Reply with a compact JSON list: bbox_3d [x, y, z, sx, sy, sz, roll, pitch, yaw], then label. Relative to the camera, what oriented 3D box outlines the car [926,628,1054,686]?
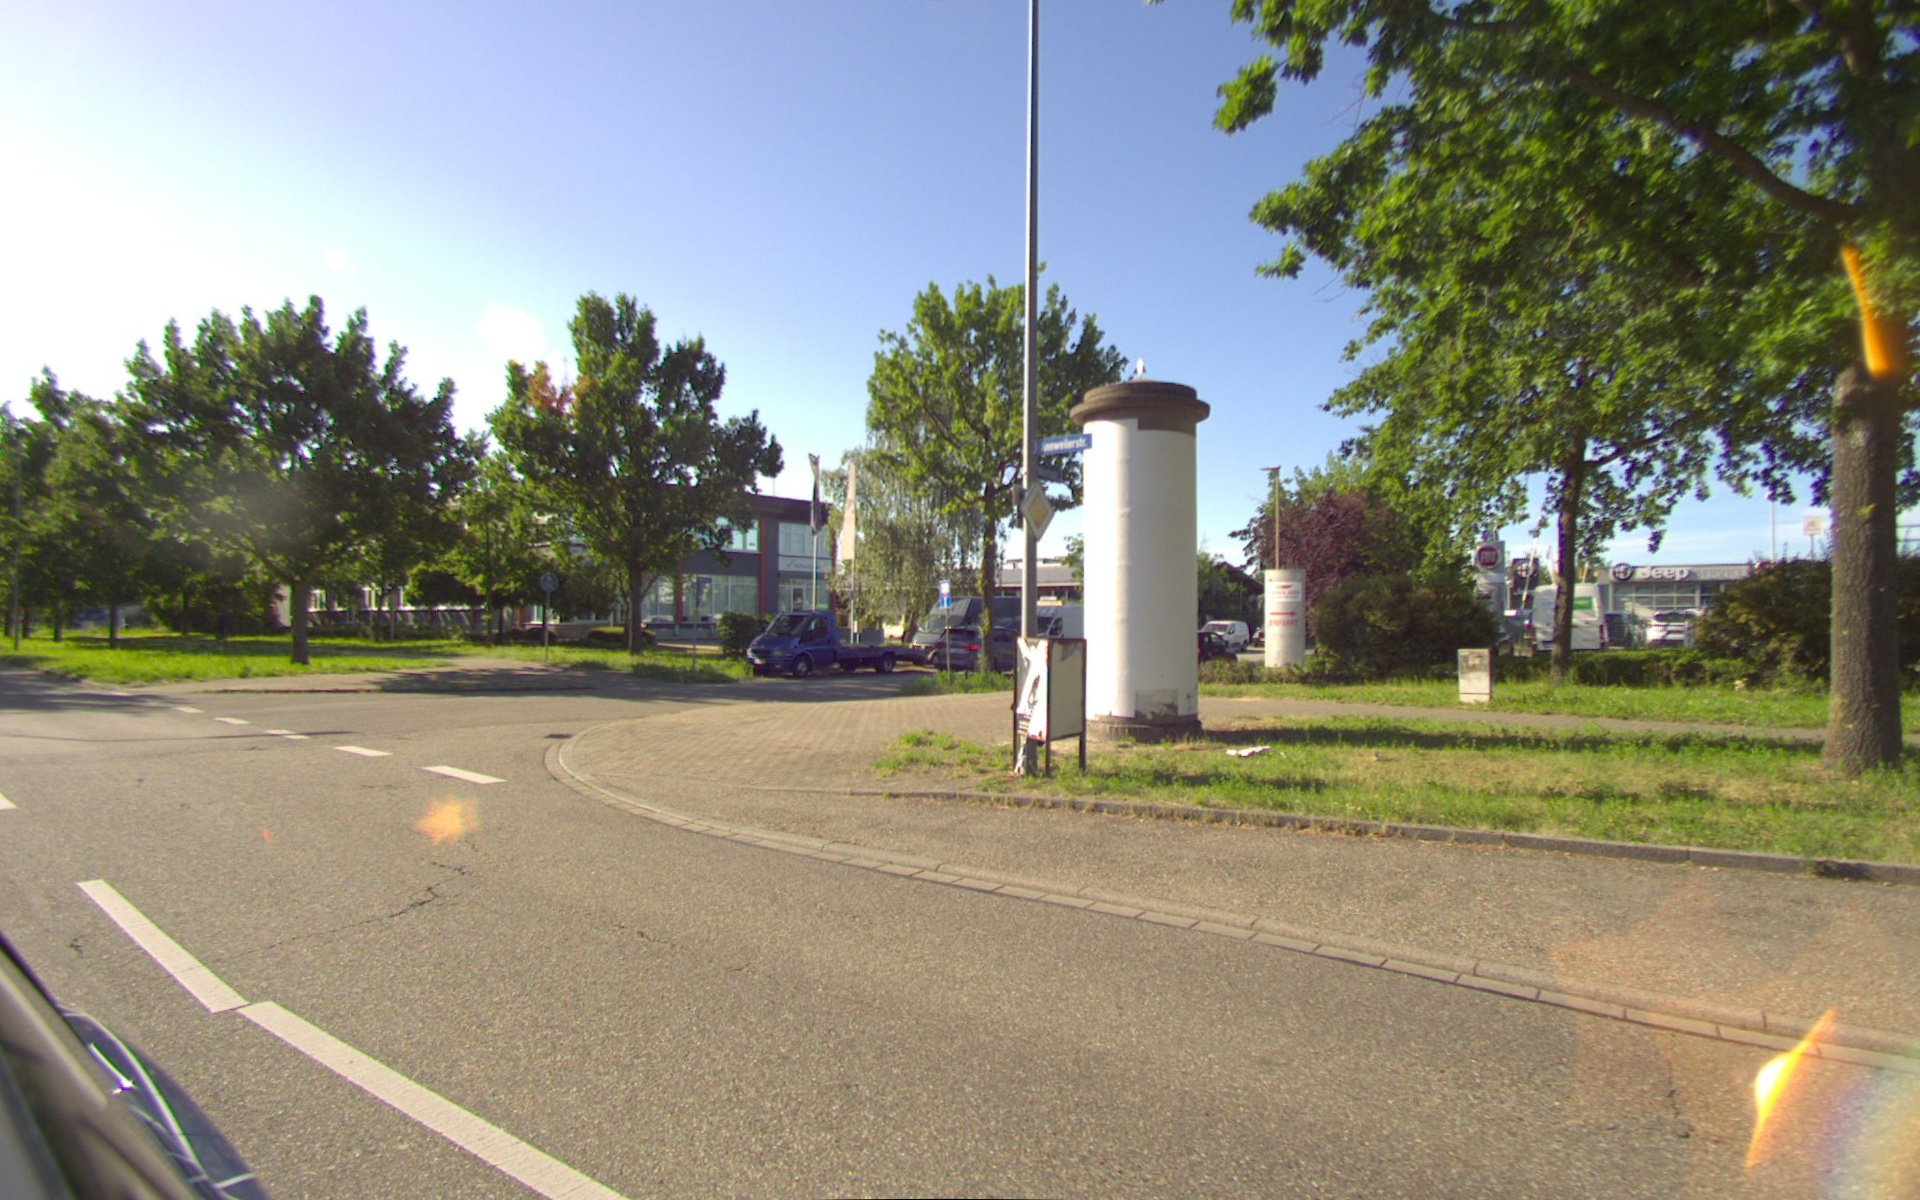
[{"bbox_3d":[0.993,1.708,31.070,1.757,1.607,4.244,1,-1,38],"label":"car"}]

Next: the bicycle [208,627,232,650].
[{"bbox_3d":[-39.829,2.063,54.450,2.334,1.170,0.545,0,0,42],"label":"bicycle"}]

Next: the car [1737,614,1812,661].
[{"bbox_3d":[24.450,1.093,30.480,1.572,1.312,3.490,-1,-1,36],"label":"car"}]

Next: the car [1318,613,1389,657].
[{"bbox_3d":[20.913,1.788,53.603,2.296,2.120,5.297,0,0,35],"label":"car"}]

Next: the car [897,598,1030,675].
[{"bbox_3d":[0.251,1.319,39.519,2.296,2.723,5.810,0,0,35],"label":"car"}]

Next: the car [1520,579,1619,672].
[{"bbox_3d":[19.908,0.741,32.893,2.296,2.723,6.105,0,0,35],"label":"car"}]

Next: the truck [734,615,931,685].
[{"bbox_3d":[-4.021,1.595,33.563,2.138,2.065,7.043,0,-2,38],"label":"truck"}]

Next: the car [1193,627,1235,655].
[{"bbox_3d":[14.991,2.413,59.633,1.506,1.585,3.107,-1,-2,33],"label":"car"}]

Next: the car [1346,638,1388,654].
[{"bbox_3d":[30.960,3.498,76.908,3.723,1.114,1.621,1,-2,-44],"label":"car"}]

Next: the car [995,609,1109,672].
[{"bbox_3d":[4.243,1.723,45.605,2.296,2.535,6.283,0,0,35],"label":"car"}]

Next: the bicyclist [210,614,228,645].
[{"bbox_3d":[-39.817,1.580,54.399,0.658,1.641,0.657,-1,0,42],"label":"bicyclist"}]

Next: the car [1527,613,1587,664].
[{"bbox_3d":[25.546,1.573,43.240,1.881,1.981,4.202,0,0,35],"label":"car"}]

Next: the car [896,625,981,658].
[{"bbox_3d":[-1.185,2.168,54.085,4.294,1.505,1.974,2,1,39],"label":"car"}]

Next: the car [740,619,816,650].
[{"bbox_3d":[-10.378,1.917,57.631,4.294,1.505,1.974,2,1,39],"label":"car"}]
